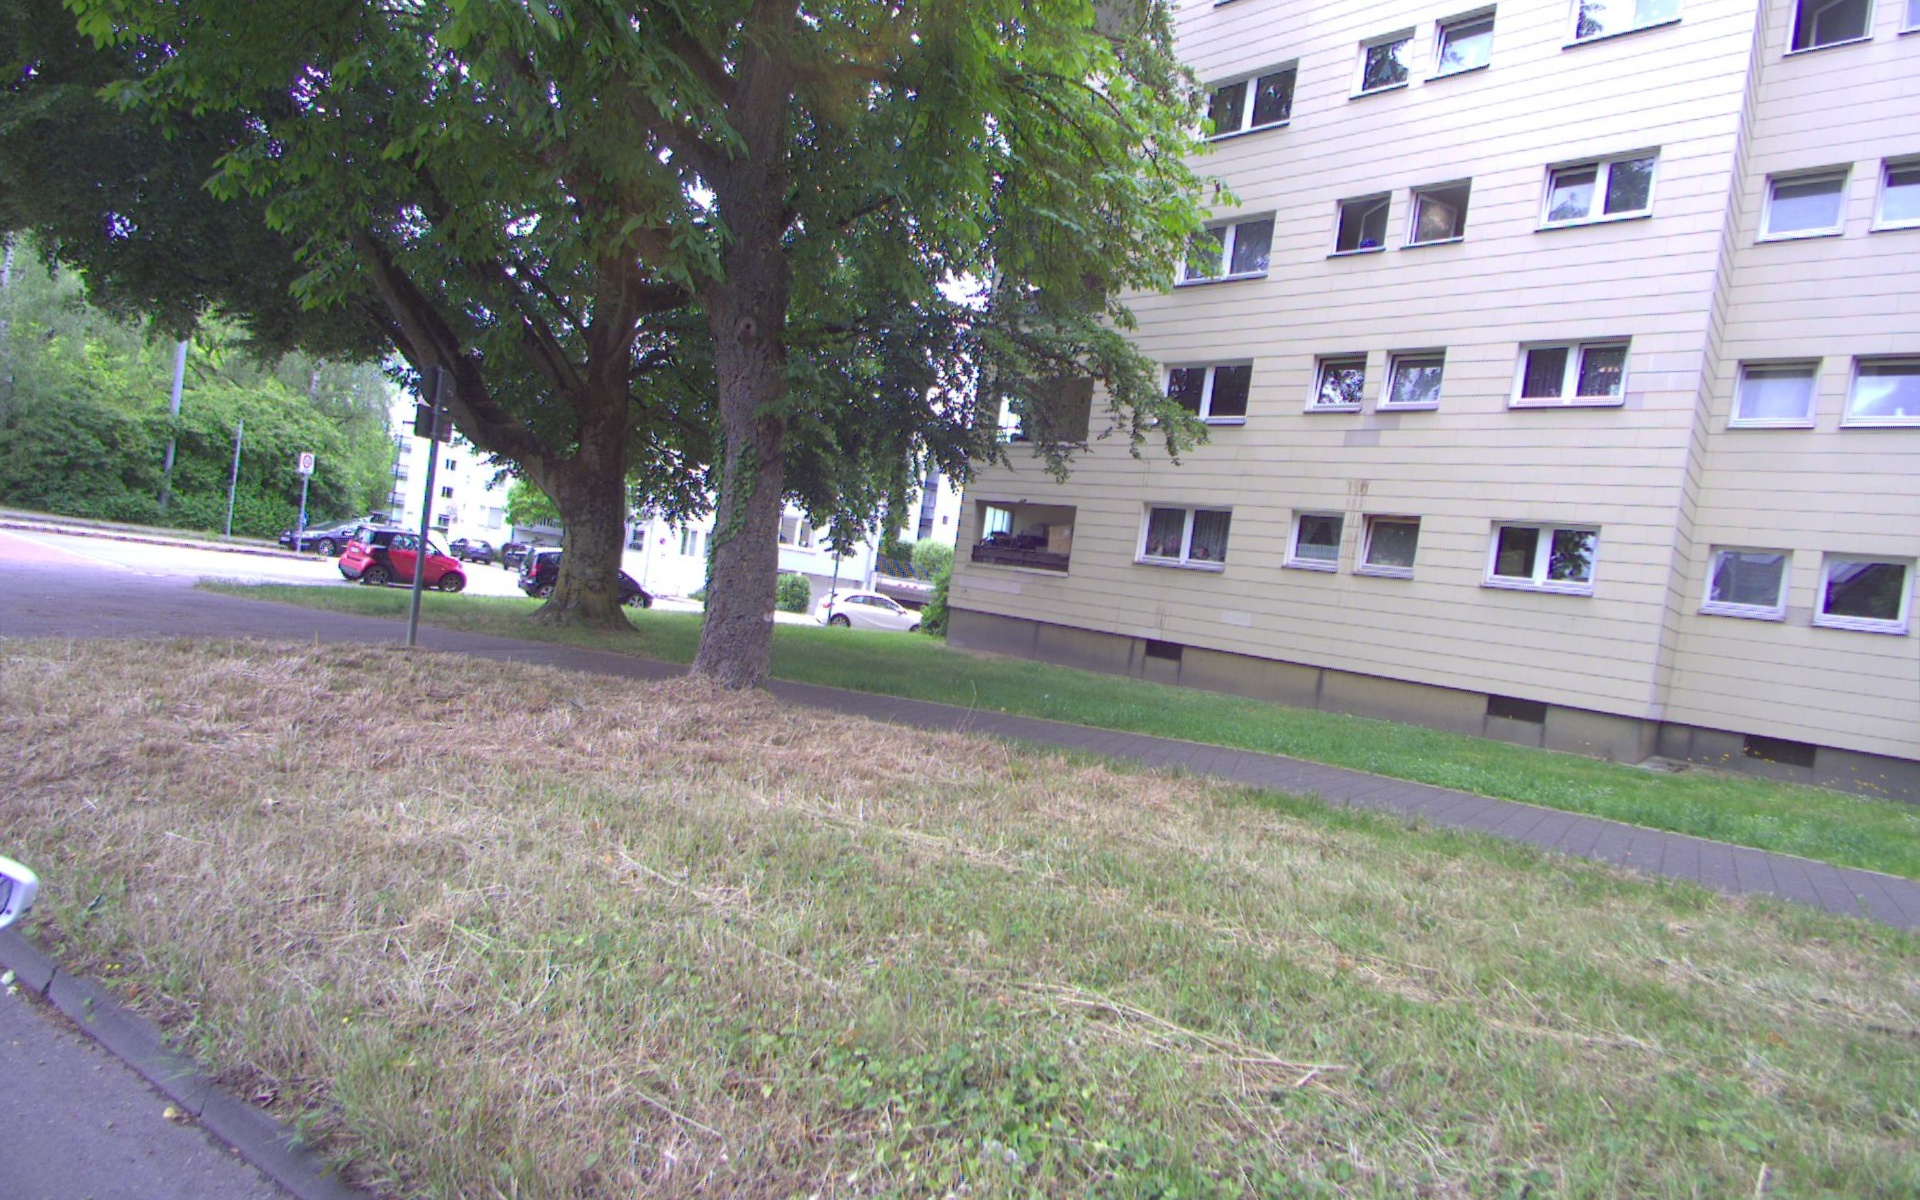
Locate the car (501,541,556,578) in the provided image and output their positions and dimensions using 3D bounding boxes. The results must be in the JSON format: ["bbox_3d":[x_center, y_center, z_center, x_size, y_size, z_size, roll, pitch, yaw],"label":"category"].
[{"bbox_3d":[-23.195,-2.203,54.070,1.713,1.631,3.813,6,1,-38],"label":"car"}]

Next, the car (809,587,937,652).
[{"bbox_3d":[-2.891,0.628,33.311,3.796,1.631,1.721,7,1,-18],"label":"car"}]

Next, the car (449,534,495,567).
[{"bbox_3d":[-30.120,-3.079,62.022,1.713,1.631,3.813,6,1,-38],"label":"car"}]

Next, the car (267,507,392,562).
[{"bbox_3d":[-23.408,-2.408,37.430,1.702,1.549,3.515,8,1,38],"label":"car"}]

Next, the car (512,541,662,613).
[{"bbox_3d":[-11.063,-0.678,29.922,3.814,1.631,1.713,6,1,-33],"label":"car"}]

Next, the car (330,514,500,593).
[{"bbox_3d":[-14.533,-1.210,26.947,1.702,1.631,3.516,8,1,37],"label":"car"}]

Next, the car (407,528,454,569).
[{"bbox_3d":[-24.884,-2.446,47.182,1.709,1.631,3.823,6,1,-30],"label":"car"}]
